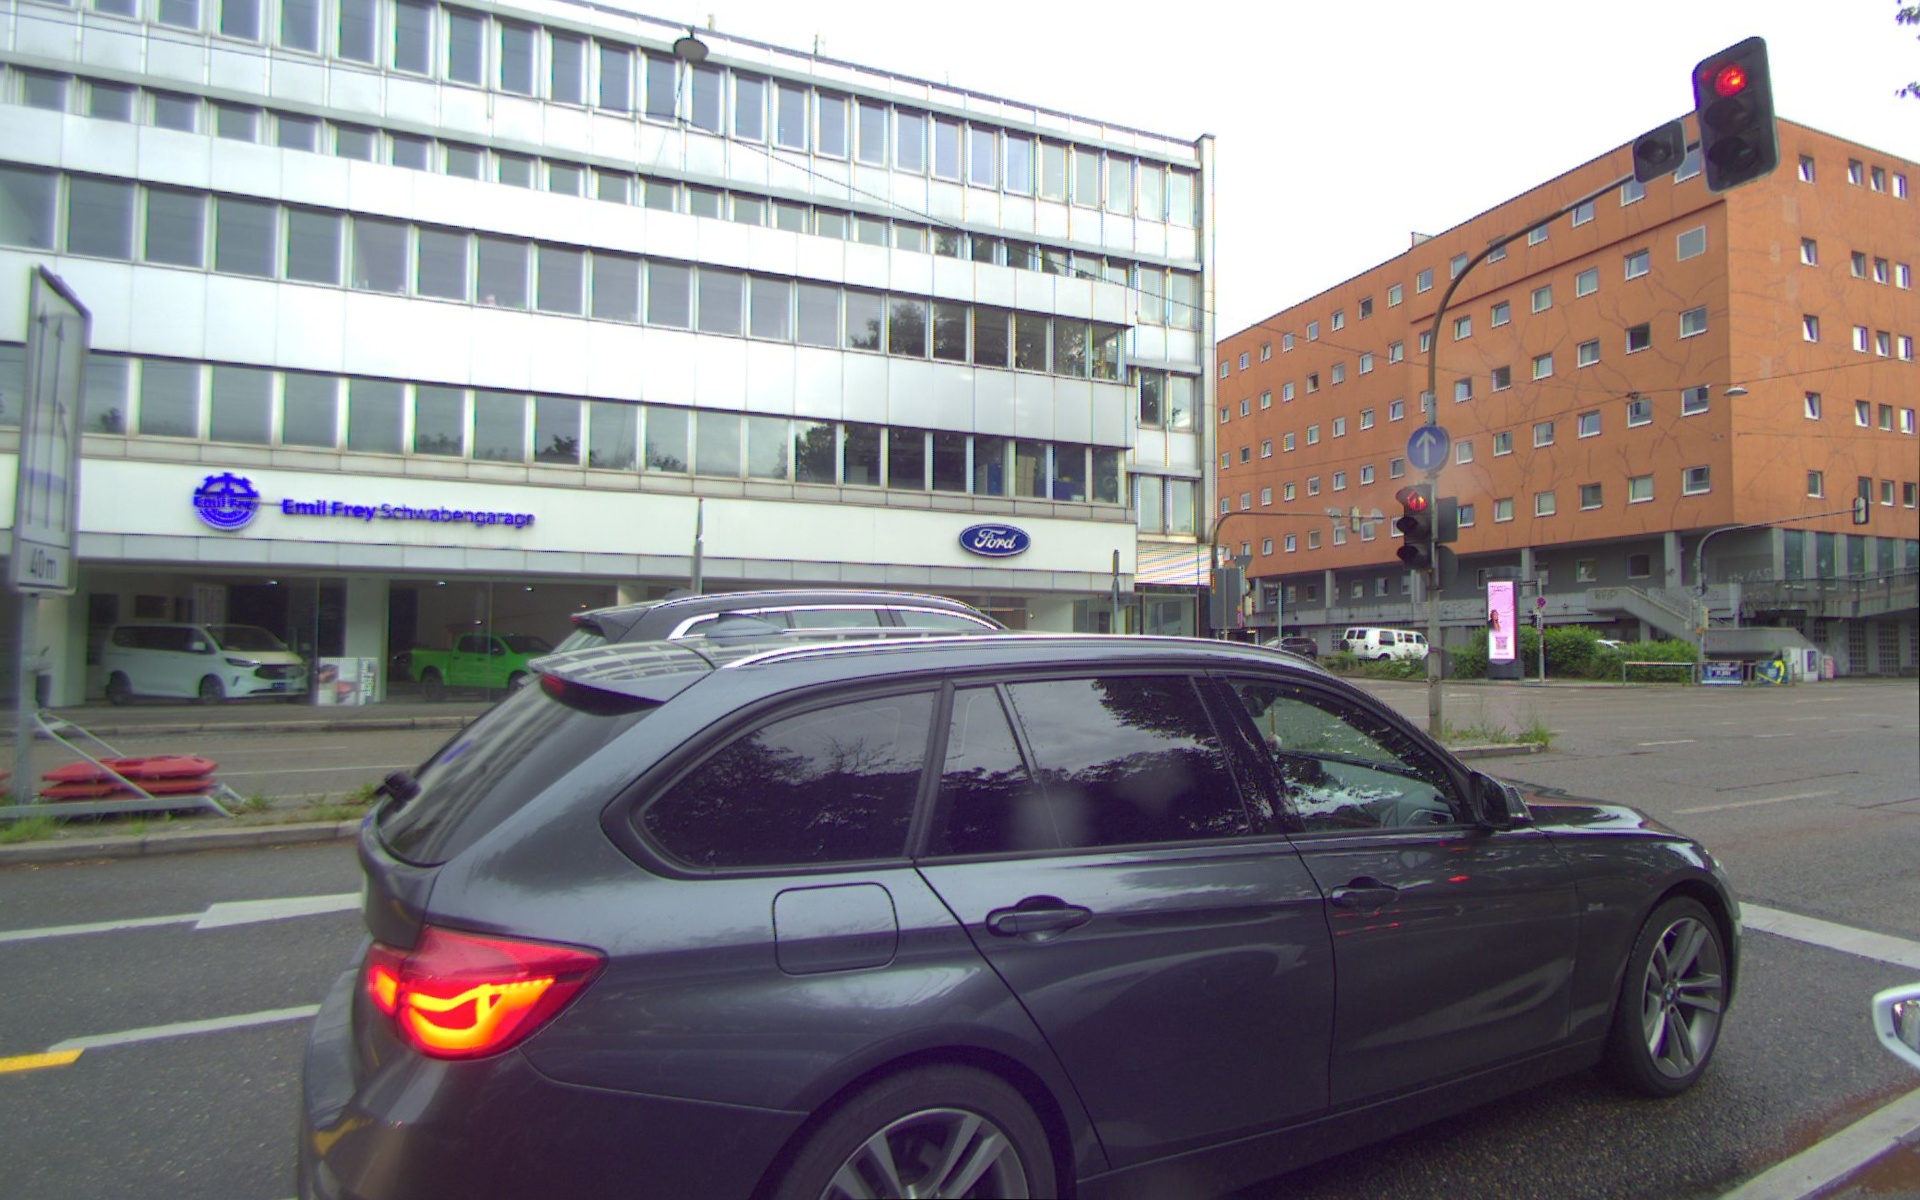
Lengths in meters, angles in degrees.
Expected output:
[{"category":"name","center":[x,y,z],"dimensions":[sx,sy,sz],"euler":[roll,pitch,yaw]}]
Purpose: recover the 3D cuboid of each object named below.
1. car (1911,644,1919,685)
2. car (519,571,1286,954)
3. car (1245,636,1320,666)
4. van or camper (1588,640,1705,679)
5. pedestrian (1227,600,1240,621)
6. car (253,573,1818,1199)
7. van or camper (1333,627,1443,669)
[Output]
[{"category":"car","center":[35.896,2.296,35.735],"dimensions":[4.161,1.437,1.680],"euler":[2,-3,-27]},{"category":"car","center":[-0.269,0.765,6.233],"dimensions":[4.389,1.678,1.802],"euler":[2,0,-28]},{"category":"car","center":[18.960,2.997,59.016],"dimensions":[4.027,1.633,1.706],"euler":[2,0,-23]},{"category":"van or camper","center":[30.914,2.640,45.332],"dimensions":[1.887,1.648,3.978],"euler":[1,-2,-23]},{"category":"pedestrian","center":[24.218,0.901,88.913],"dimensions":[0.714,1.864,0.761],"euler":[2,0,-21]},{"category":"car","center":[0.602,0.795,3.149],"dimensions":[4.424,1.477,1.769],"euler":[2,-3,-30]},{"category":"van or camper","center":[22.316,2.519,52.367],"dimensions":[5.376,2.004,2.121],"euler":[2,0,-23]}]
